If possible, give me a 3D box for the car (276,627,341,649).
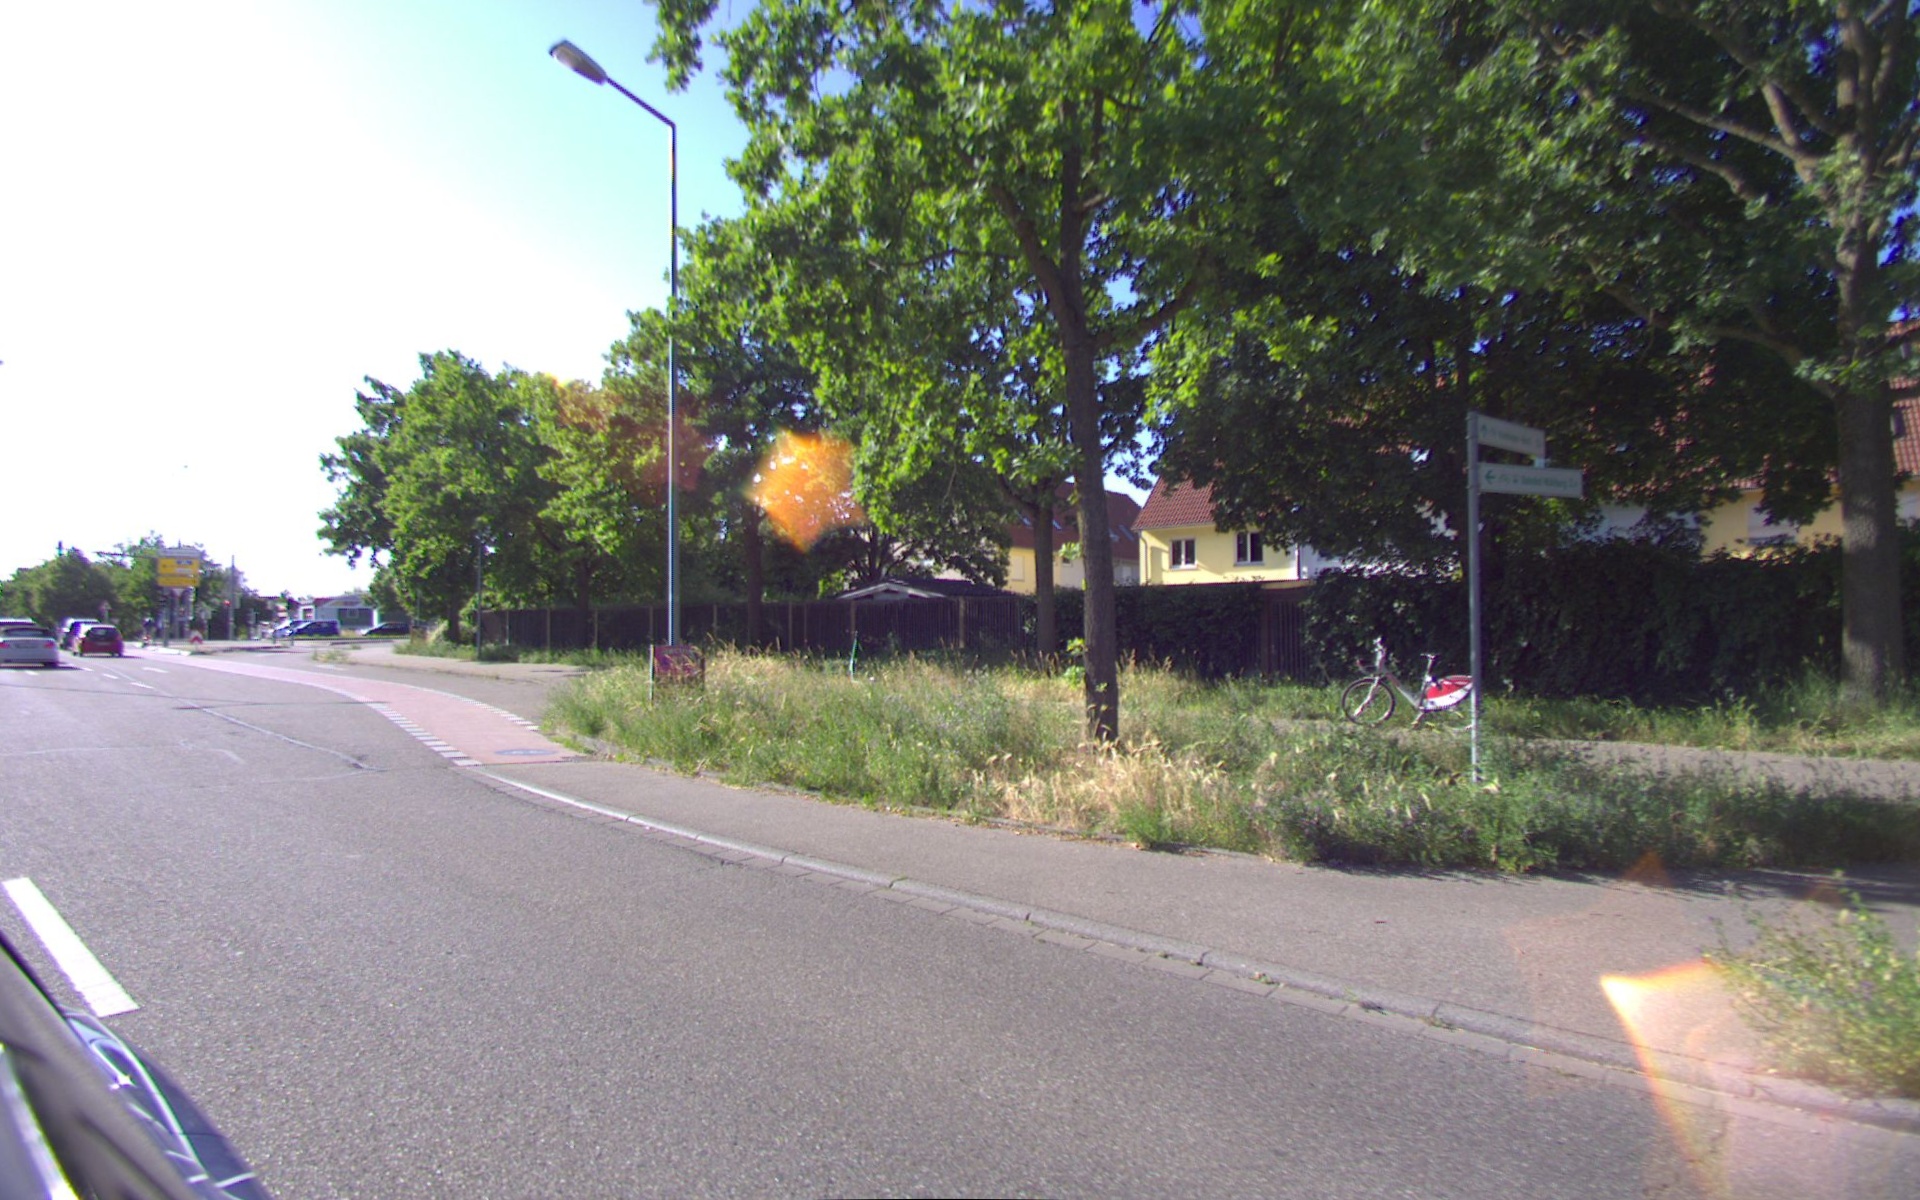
[{"bbox_3d":[-51.516,3.033,80.059,1.891,1.657,3.985,-5,-5,40],"label":"car"}]

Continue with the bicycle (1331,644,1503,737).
[{"bbox_3d":[5.634,1.082,12.564,1.879,1.061,0.500,-2,-2,41],"label":"bicycle"}]

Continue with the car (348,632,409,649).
[{"bbox_3d":[-48.322,3.356,84.172,1.891,1.284,3.985,-5,-5,40],"label":"car"}]

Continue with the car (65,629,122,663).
[{"bbox_3d":[-40.217,2.137,46.946,3.714,1.494,1.627,-2,-3,44],"label":"car"}]

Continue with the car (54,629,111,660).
[{"bbox_3d":[-48.035,2.423,55.390,4.532,1.656,1.971,-2,-3,44],"label":"car"}]

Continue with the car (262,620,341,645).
[{"bbox_3d":[-55.762,2.786,85.797,2.046,2.029,5.205,-5,-5,40],"label":"car"}]

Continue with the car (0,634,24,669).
[{"bbox_3d":[-42.536,2.240,44.540,3.889,1.494,1.727,-2,-3,44],"label":"car"}]

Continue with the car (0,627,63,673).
[{"bbox_3d":[-32.201,1.699,34.547,4.400,1.461,1.971,-2,-3,44],"label":"car"}]

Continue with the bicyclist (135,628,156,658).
[{"bbox_3d":[-46.446,2.450,57.699,1.242,1.715,0.736,-2,-3,43],"label":"bicyclist"}]

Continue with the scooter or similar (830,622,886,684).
[{"bbox_3d":[-2.145,1.107,21.157,0.531,1.228,1.417,-1,-2,-33],"label":"scooter or similar"}]

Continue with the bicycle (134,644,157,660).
[{"bbox_3d":[-46.423,2.950,57.654,1.990,0.854,0.740,-2,-3,43],"label":"bicycle"}]

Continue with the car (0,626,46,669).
[{"bbox_3d":[-37.430,1.862,39.717,4.531,1.628,1.971,-2,-3,44],"label":"car"}]
